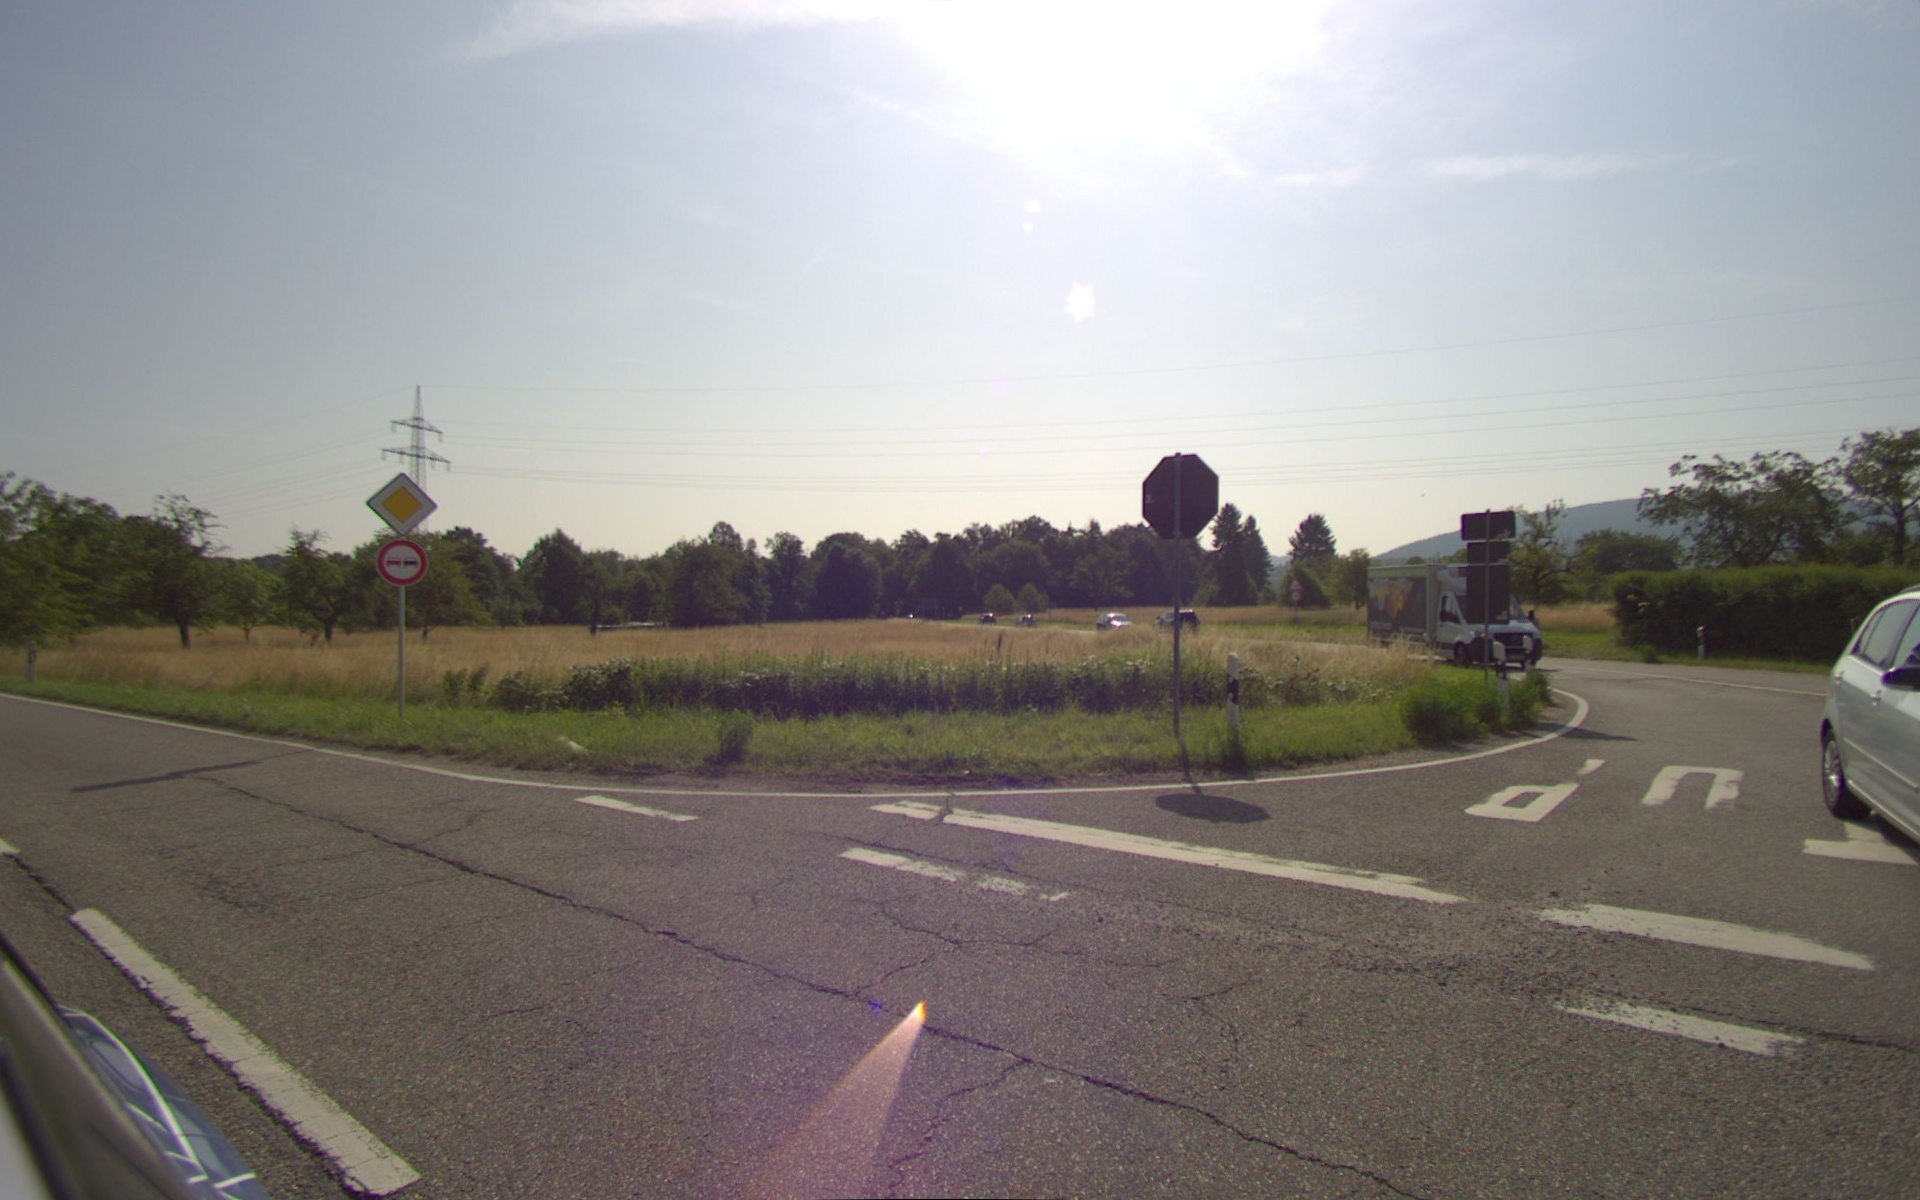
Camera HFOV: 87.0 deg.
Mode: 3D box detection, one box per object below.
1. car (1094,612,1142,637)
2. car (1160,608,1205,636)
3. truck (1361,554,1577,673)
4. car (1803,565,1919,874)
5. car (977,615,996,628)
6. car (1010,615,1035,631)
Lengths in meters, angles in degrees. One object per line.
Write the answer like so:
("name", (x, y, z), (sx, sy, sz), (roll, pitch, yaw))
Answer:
("car", (10.315, 1.568, 66.392), (1.788, 1.564, 4.009), (-1, 0, -11))
("car", (14.214, 1.381, 64.928), (1.733, 1.650, 3.906), (-1, 0, -4))
("truck", (14.814, 0.389, 30.250), (2.547, 3.068, 7.366), (-1, -1, -1))
("car", (6.050, 0.608, 5.169), (1.992, 1.592, 3.869), (-2, -2, 30))
("car", (3.527, 2.847, 134.718), (1.789, 1.564, 4.008), (-1, 0, -9))
("car", (6.814, 2.499, 110.920), (1.789, 1.564, 4.008), (-1, 0, -9))
